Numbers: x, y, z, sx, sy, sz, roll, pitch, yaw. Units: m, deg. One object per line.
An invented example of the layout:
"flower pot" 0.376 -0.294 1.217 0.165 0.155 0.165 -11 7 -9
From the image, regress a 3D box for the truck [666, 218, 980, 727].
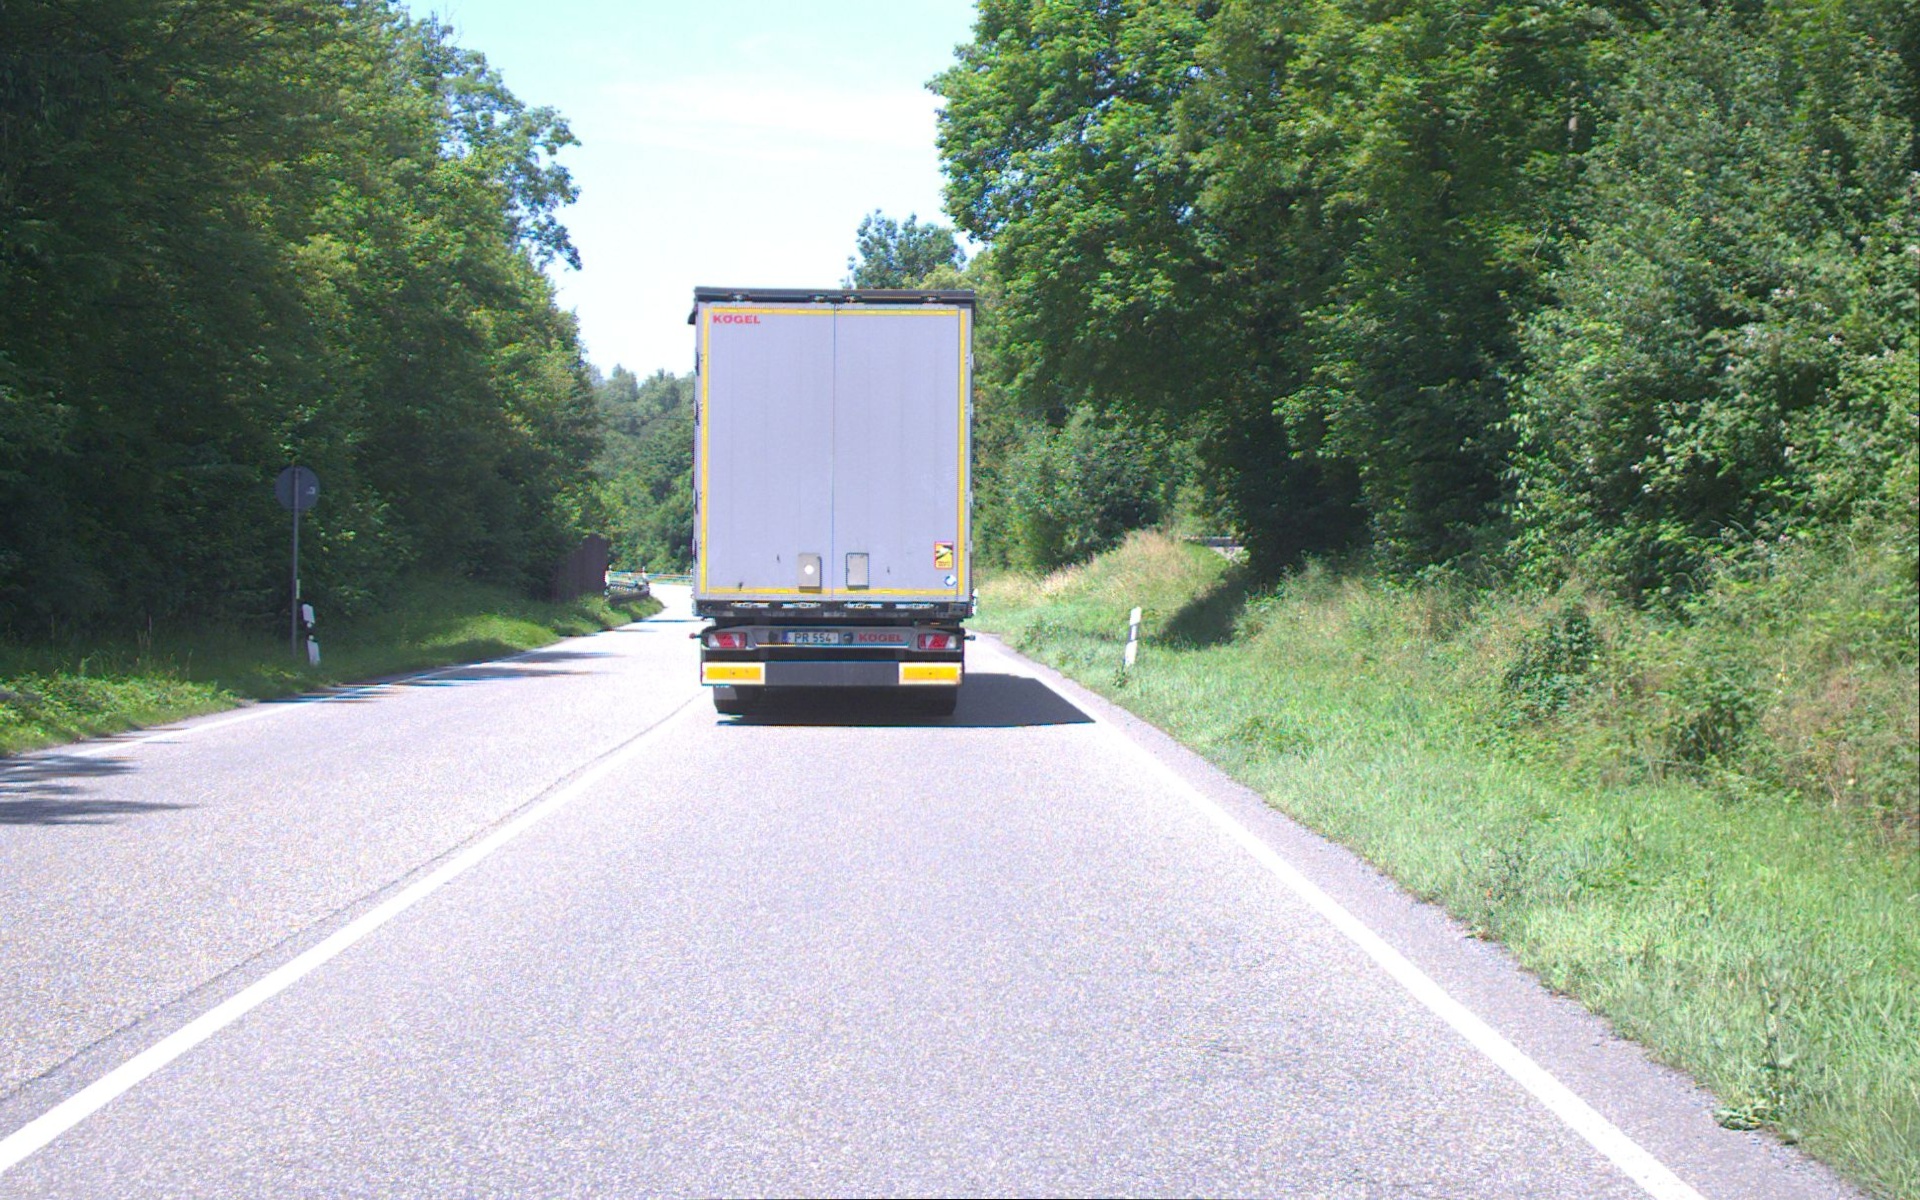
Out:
"truck" -1.220 -1.184 34.379 2.822 4.588 6.665 0 0 0
